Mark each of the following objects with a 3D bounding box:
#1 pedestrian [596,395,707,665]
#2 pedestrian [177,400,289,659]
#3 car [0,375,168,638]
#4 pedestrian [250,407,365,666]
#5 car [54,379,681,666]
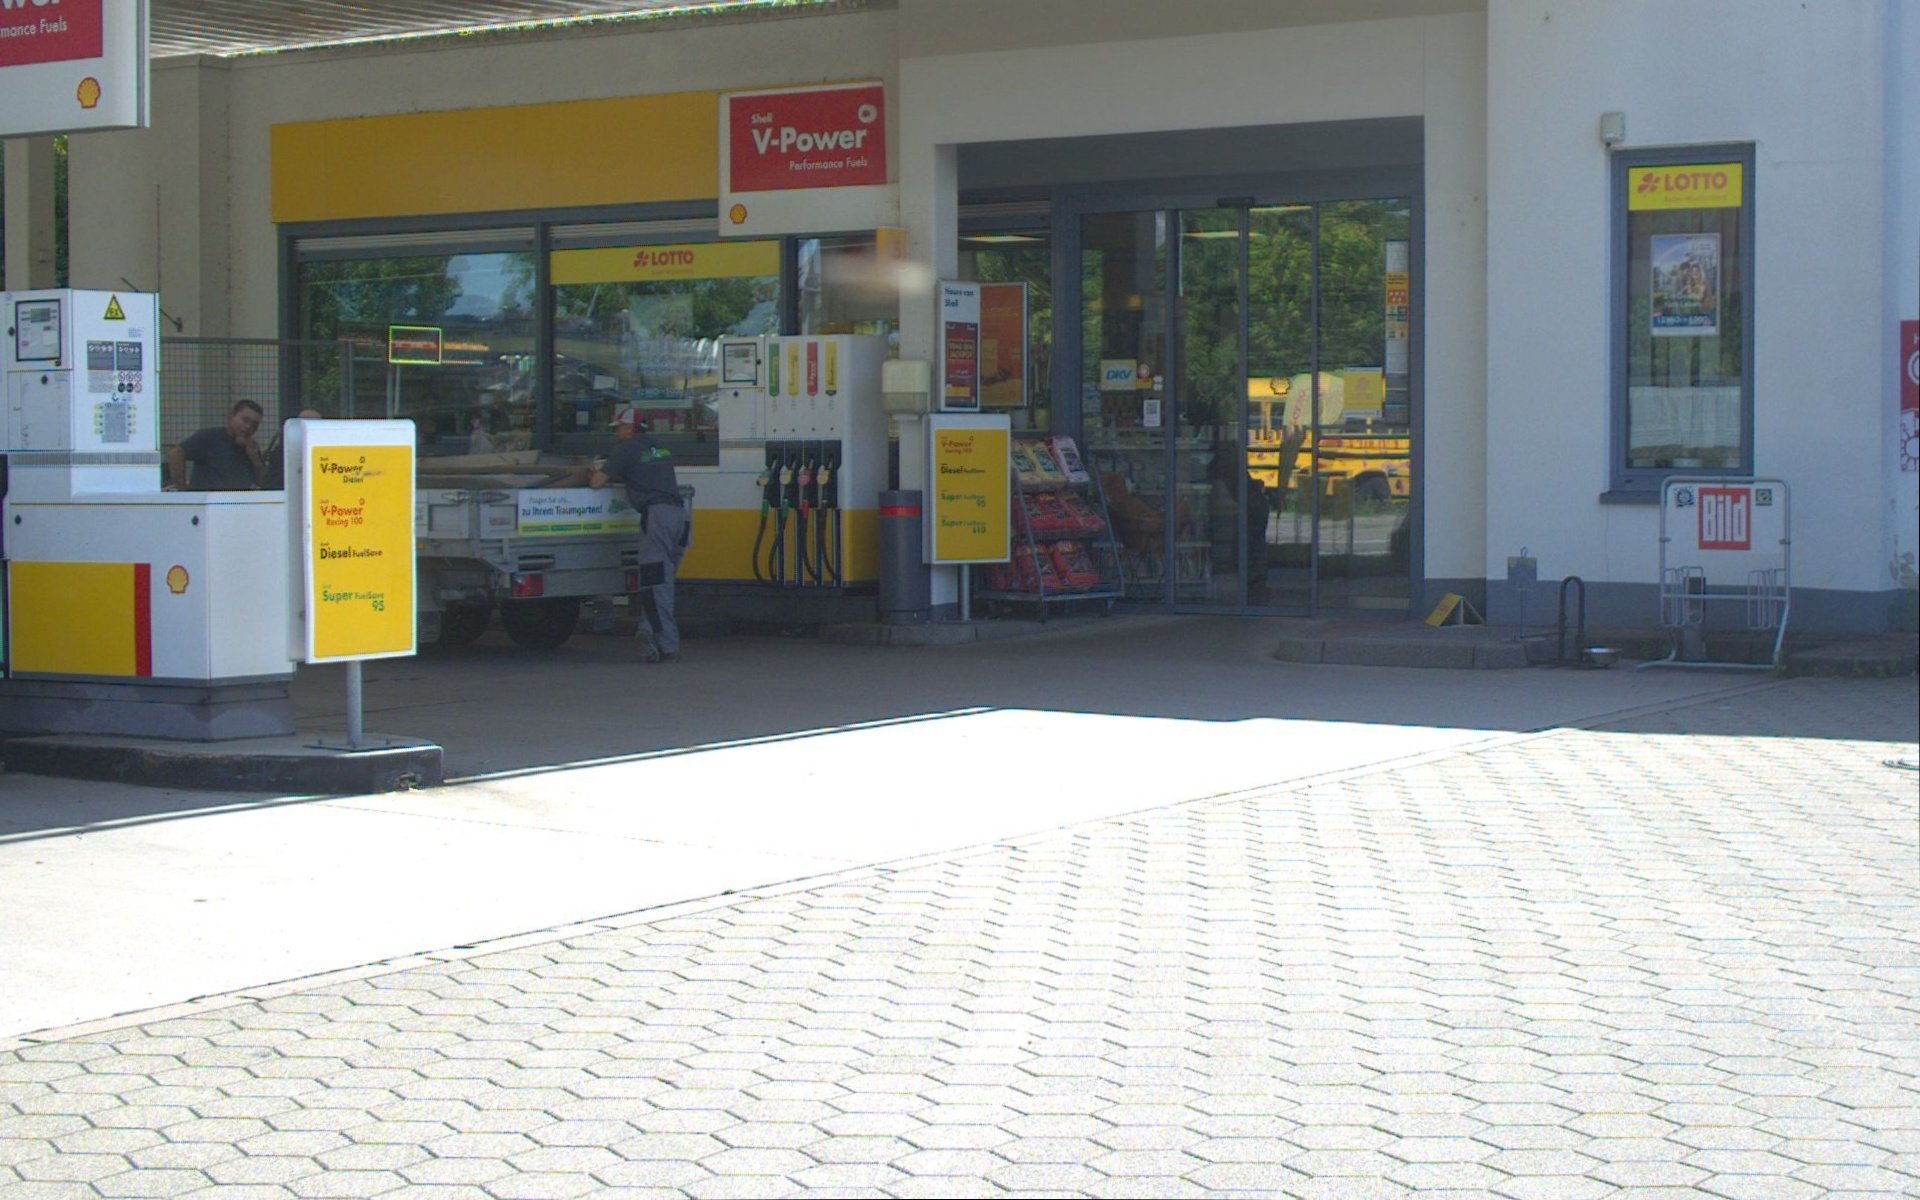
[{"bbox_3d":[-1.927,-0.441,21.479,0.500,1.662,0.475,1,3,35],"label":"pedestrian"},{"bbox_3d":[-4.646,-0.456,21.969,0.475,1.626,0.500,2,3,38],"label":"pedestrian"},{"bbox_3d":[-8.327,-0.723,25.750,4.774,1.831,1.854,1,3,33],"label":"car"},{"bbox_3d":[-4.069,-0.403,21.447,0.475,1.588,0.500,2,3,38],"label":"pedestrian"},{"bbox_3d":[-3.933,-0.525,22.563,3.996,1.722,1.830,1,3,38],"label":"car"}]
